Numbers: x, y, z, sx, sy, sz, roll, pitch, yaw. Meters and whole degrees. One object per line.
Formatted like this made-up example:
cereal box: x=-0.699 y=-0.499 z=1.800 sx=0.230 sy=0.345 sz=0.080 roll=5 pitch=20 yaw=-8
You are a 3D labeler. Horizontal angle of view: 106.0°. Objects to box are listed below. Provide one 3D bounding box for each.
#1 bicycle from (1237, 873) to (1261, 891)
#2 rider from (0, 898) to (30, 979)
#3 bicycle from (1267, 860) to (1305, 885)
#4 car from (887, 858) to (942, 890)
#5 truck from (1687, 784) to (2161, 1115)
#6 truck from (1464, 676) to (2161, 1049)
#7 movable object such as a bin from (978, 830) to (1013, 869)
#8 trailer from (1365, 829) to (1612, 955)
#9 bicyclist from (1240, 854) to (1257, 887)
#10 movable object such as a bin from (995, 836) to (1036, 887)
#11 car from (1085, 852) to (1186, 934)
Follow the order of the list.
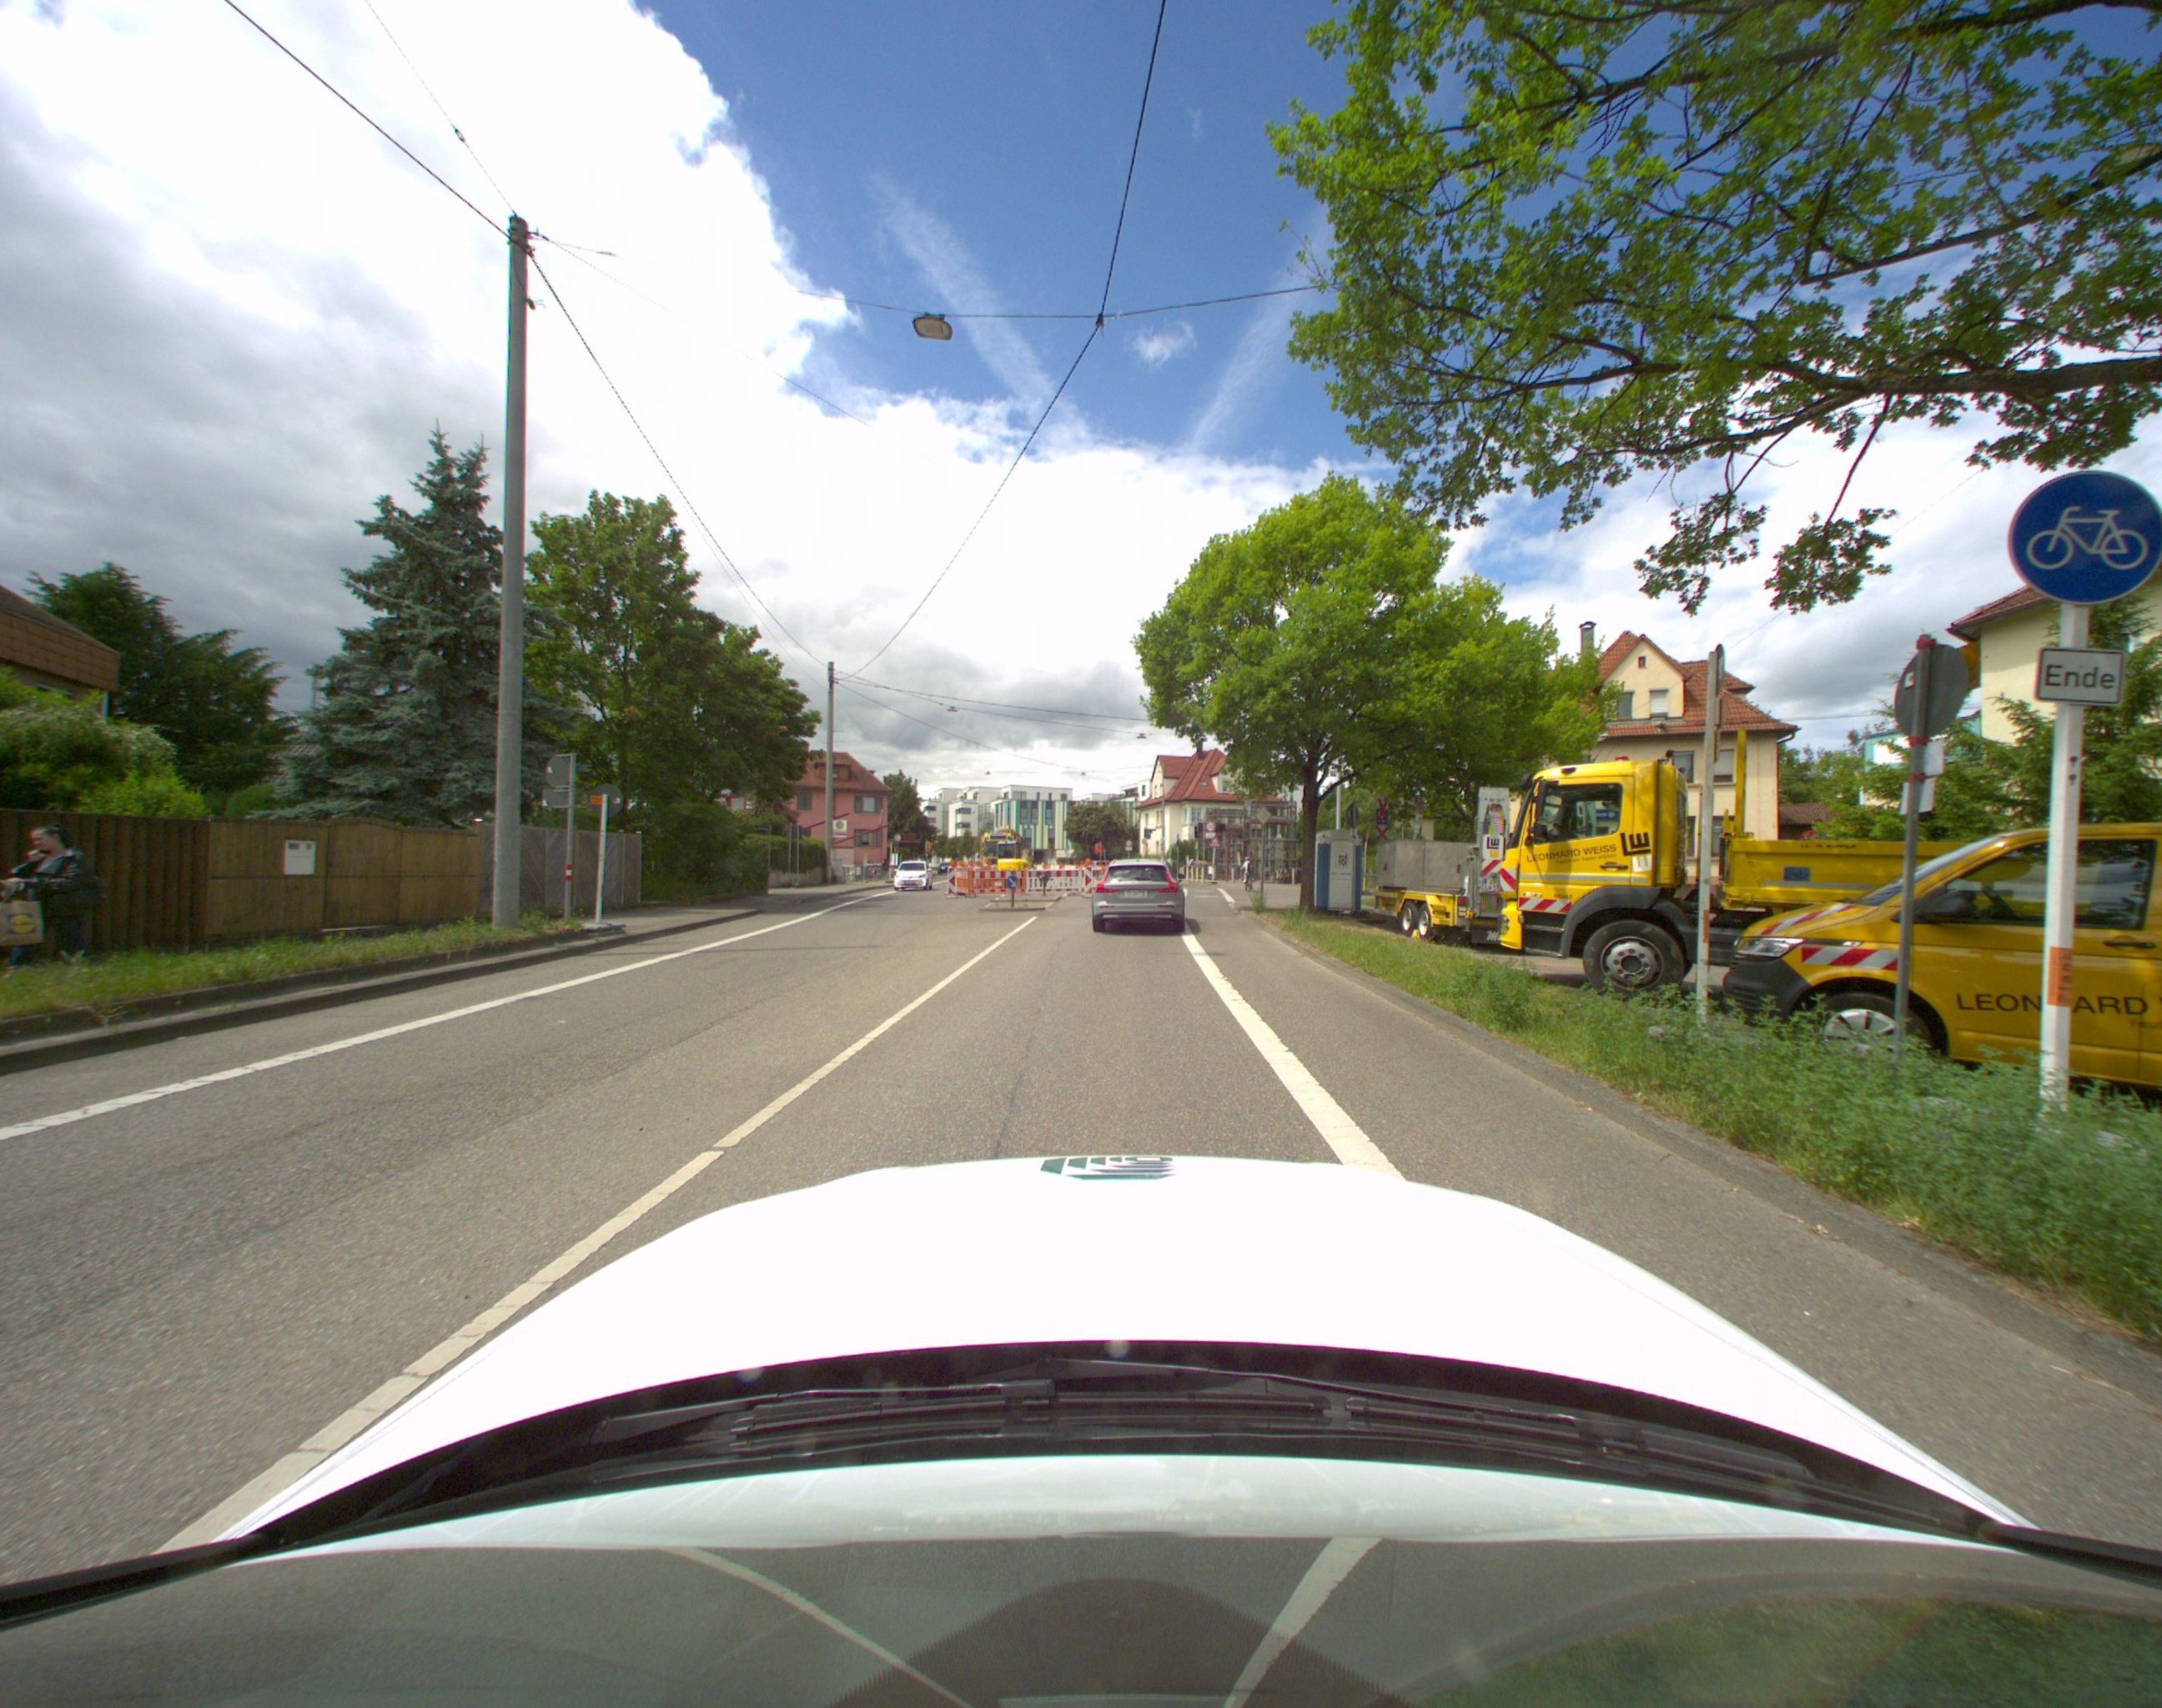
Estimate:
bicycle: x=8.162 y=1.367 z=39.600 sx=0.593 sy=0.812 sz=1.750 roll=3 pitch=-2 yaw=-5
rider: x=-10.467 y=0.774 z=7.449 sx=0.726 sy=0.735 sz=0.690 roll=3 pitch=-2 yaw=0
bicycle: x=11.797 y=1.035 z=47.076 sx=1.386 sy=1.190 sz=3.473 roll=3 pitch=2 yaw=2
car: x=-8.413 y=1.041 z=41.370 sx=1.881 sy=1.508 sz=4.000 roll=-1 pitch=-2 yaw=1
truck: x=7.630 y=0.642 z=5.316 sx=2.011 sy=2.014 sz=5.609 roll=5 pitch=-3 yaw=-43
truck: x=8.166 y=0.097 z=8.893 sx=6.622 sy=3.009 sz=2.786 roll=2 pitch=-3 yaw=41
movable object such as a bin: x=-7.115 y=-0.334 z=67.429 sx=2.311 sy=2.990 sz=6.402 roll=1 pitch=0 yaw=-11
trailer: x=7.778 y=0.679 z=16.387 sx=2.379 sy=2.032 sz=5.515 roll=2 pitch=-1 yaw=2
bicyclist: x=8.182 y=0.813 z=39.731 sx=0.588 sy=1.559 sz=0.565 roll=3 pitch=-2 yaw=-6
movable object such as a bin: x=-3.554 y=0.415 z=45.135 sx=2.030 sy=2.643 sz=5.932 roll=1 pitch=0 yaw=-3
car: x=1.246 y=0.749 z=17.424 sx=1.918 sy=1.540 sz=4.007 roll=0 pitch=0 yaw=6
